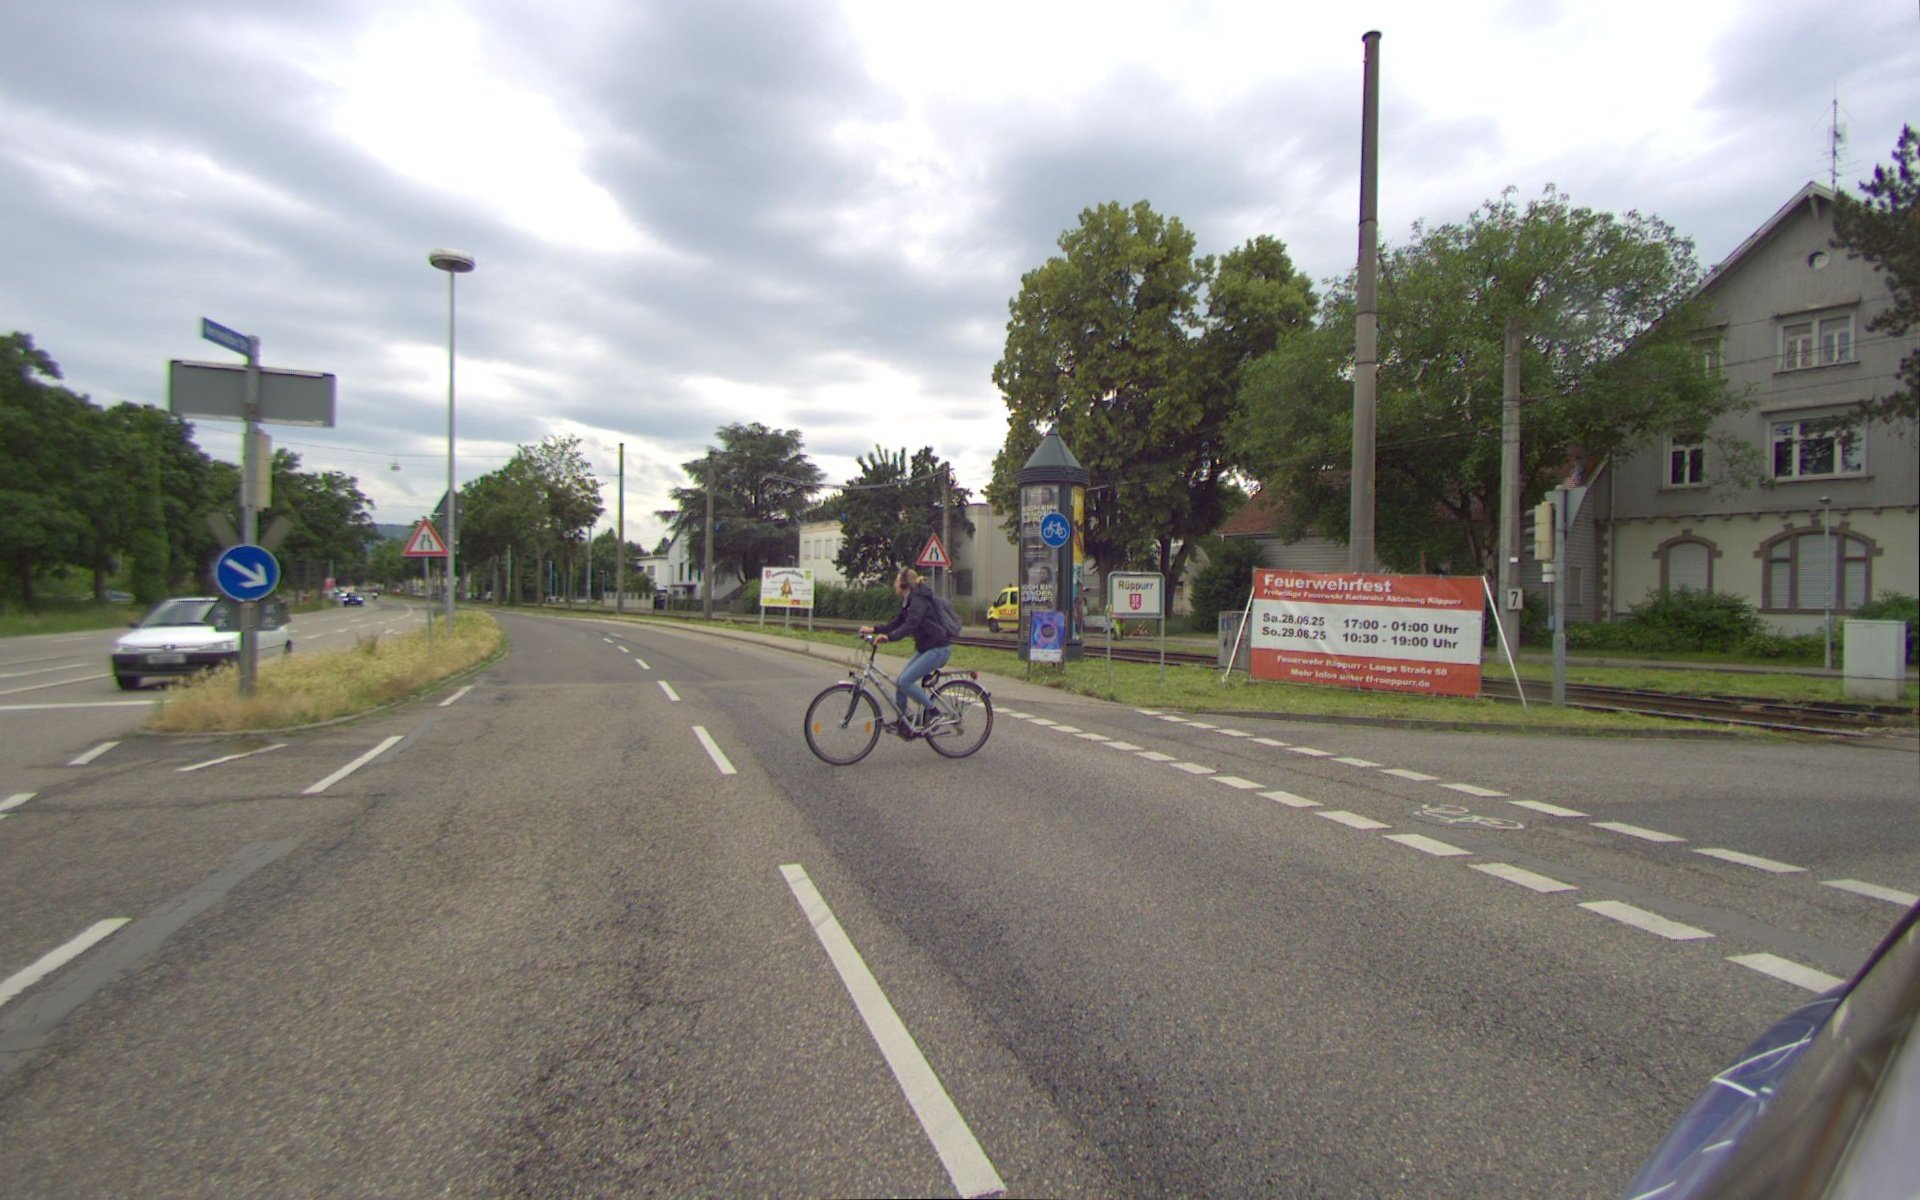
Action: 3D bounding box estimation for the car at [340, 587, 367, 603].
[{"bbox_3d":[-61.242,-0.510,102.264,1.723,1.594,4.008,0,0,-23],"label":"car"}]

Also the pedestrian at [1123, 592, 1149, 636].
[{"bbox_3d":[7.489,0.593,43.117,0.855,1.878,0.681,1,-1,-20],"label":"pedestrian"}]

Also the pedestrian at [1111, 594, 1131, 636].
[{"bbox_3d":[6.992,0.650,43.846,0.625,1.784,0.574,1,0,-42],"label":"pedestrian"}]

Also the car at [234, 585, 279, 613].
[{"bbox_3d":[-40.212,-0.050,57.926,1.627,1.549,3.895,1,0,-28],"label":"car"}]

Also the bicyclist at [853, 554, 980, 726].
[{"bbox_3d":[-0.390,0.352,8.943,0.941,1.444,0.624,0,-4,-23],"label":"bicyclist"}]

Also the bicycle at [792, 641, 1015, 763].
[{"bbox_3d":[-0.486,0.886,9.123,1.987,0.993,0.384,0,0,-22],"label":"bicycle"}]

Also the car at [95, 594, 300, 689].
[{"bbox_3d":[-12.456,0.593,16.833,1.612,1.374,4.159,1,0,-21],"label":"car"}]

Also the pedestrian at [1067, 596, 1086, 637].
[{"bbox_3d":[5.218,0.730,45.170,0.625,1.784,0.574,1,0,-42],"label":"pedestrian"}]

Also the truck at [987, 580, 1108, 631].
[{"bbox_3d":[4.135,0.218,49.139,2.553,2.322,6.416,0,0,-31],"label":"truck"}]

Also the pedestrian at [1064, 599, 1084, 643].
[{"bbox_3d":[4.990,0.911,44.156,0.704,1.863,0.604,1,0,23],"label":"pedestrian"}]
